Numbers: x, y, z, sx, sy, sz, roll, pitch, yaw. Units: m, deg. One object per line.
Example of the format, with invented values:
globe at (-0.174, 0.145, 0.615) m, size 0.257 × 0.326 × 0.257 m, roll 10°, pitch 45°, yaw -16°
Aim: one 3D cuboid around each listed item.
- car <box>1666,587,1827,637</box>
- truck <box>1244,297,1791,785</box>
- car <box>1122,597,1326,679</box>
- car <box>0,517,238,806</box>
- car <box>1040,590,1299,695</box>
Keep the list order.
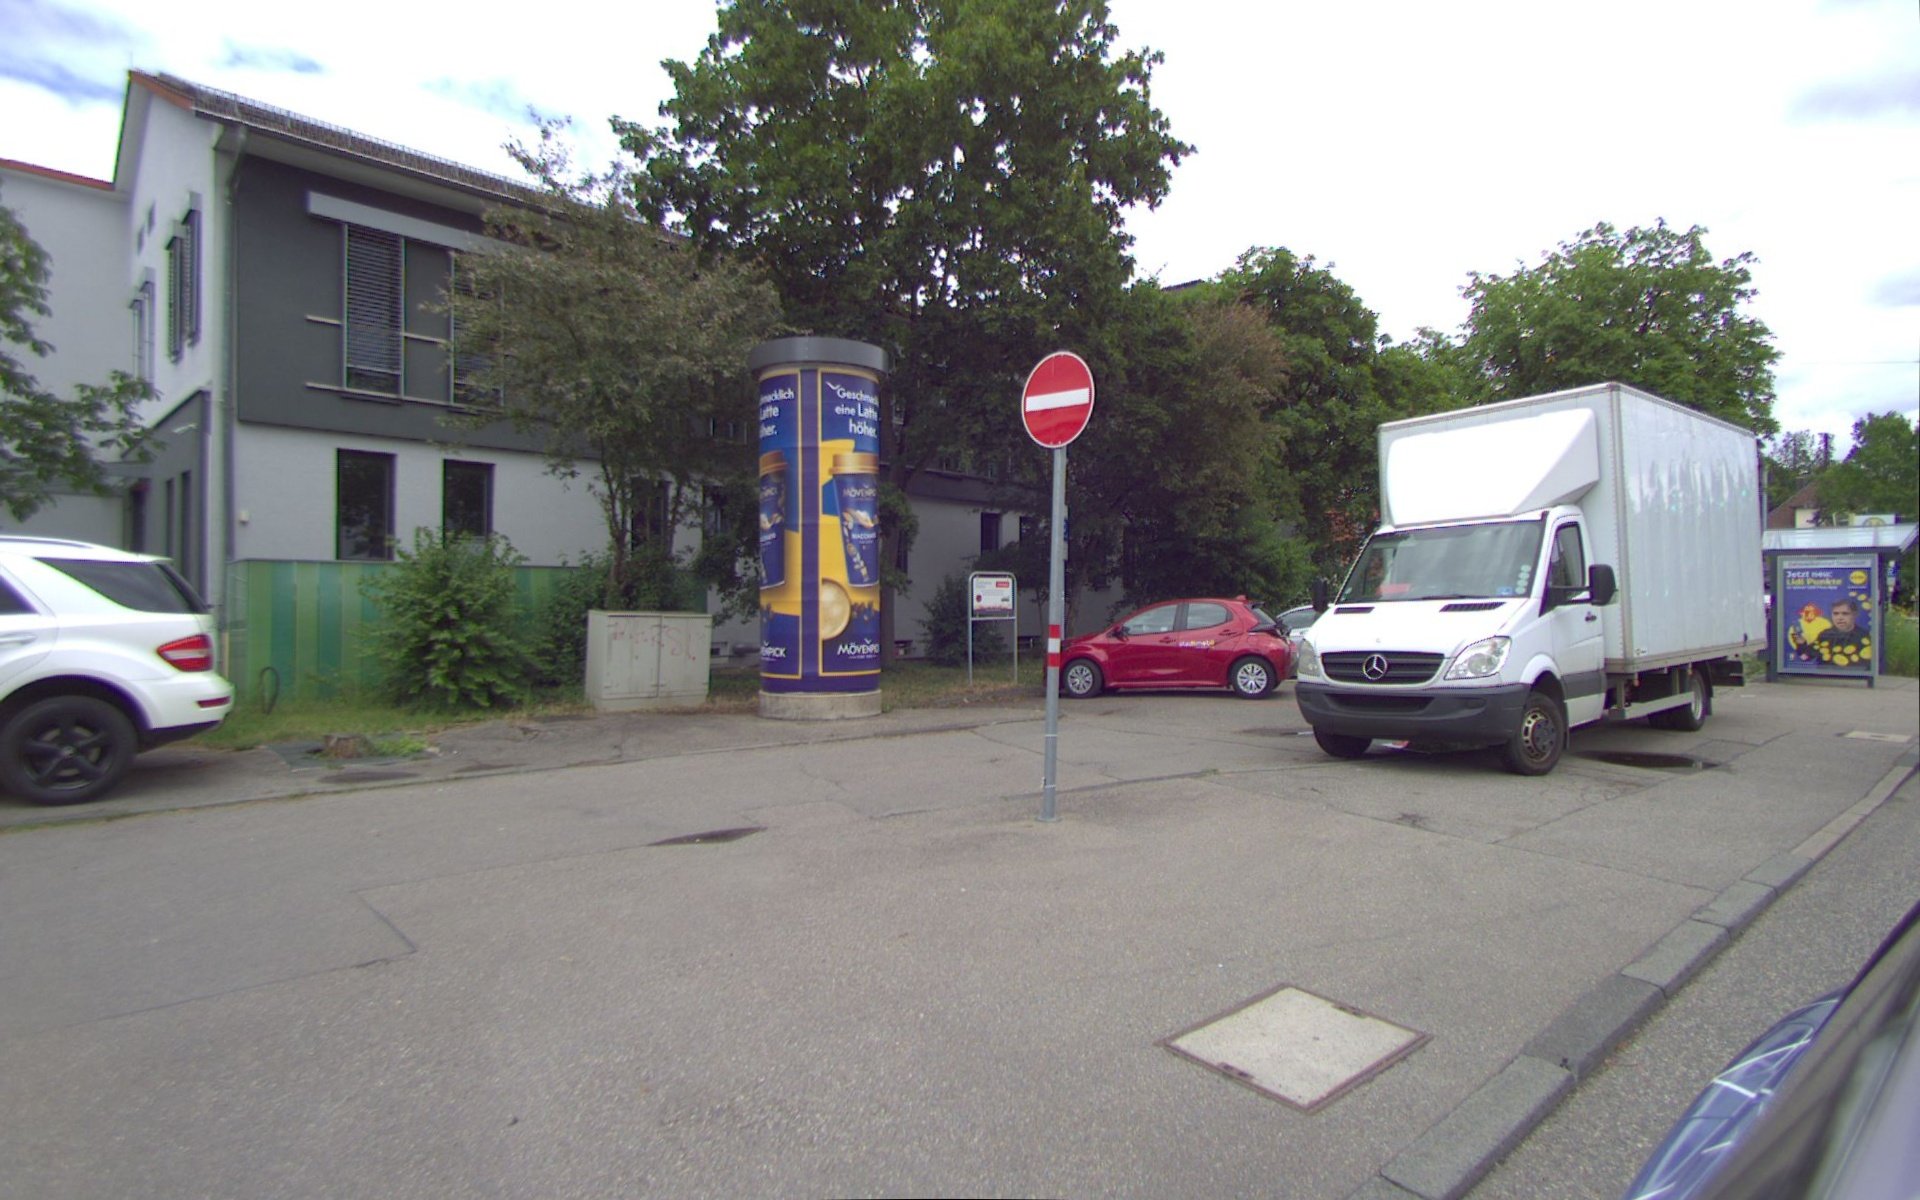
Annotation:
car at (28.989, 0.441, 37.386) m, size 4.602 × 1.771 × 1.852 m, roll 1°, pitch 0°, yaw -3°
truck at (6.382, -0.447, 10.868) m, size 7.671 × 3.570 × 2.578 m, roll 0°, pitch 0°, yaw -40°
car at (5.232, 0.706, 20.076) m, size 3.754 × 1.492 × 1.787 m, roll 0°, pitch 0°, yaw 19°
car at (-7.537, 0.384, 6.599) m, size 4.440 × 1.860 × 1.997 m, roll -1°, pitch 2°, yaw -42°
car at (3.234, 0.625, 15.629) m, size 3.687 × 1.464 × 1.595 m, roll -1°, pitch -2°, yaw 23°
